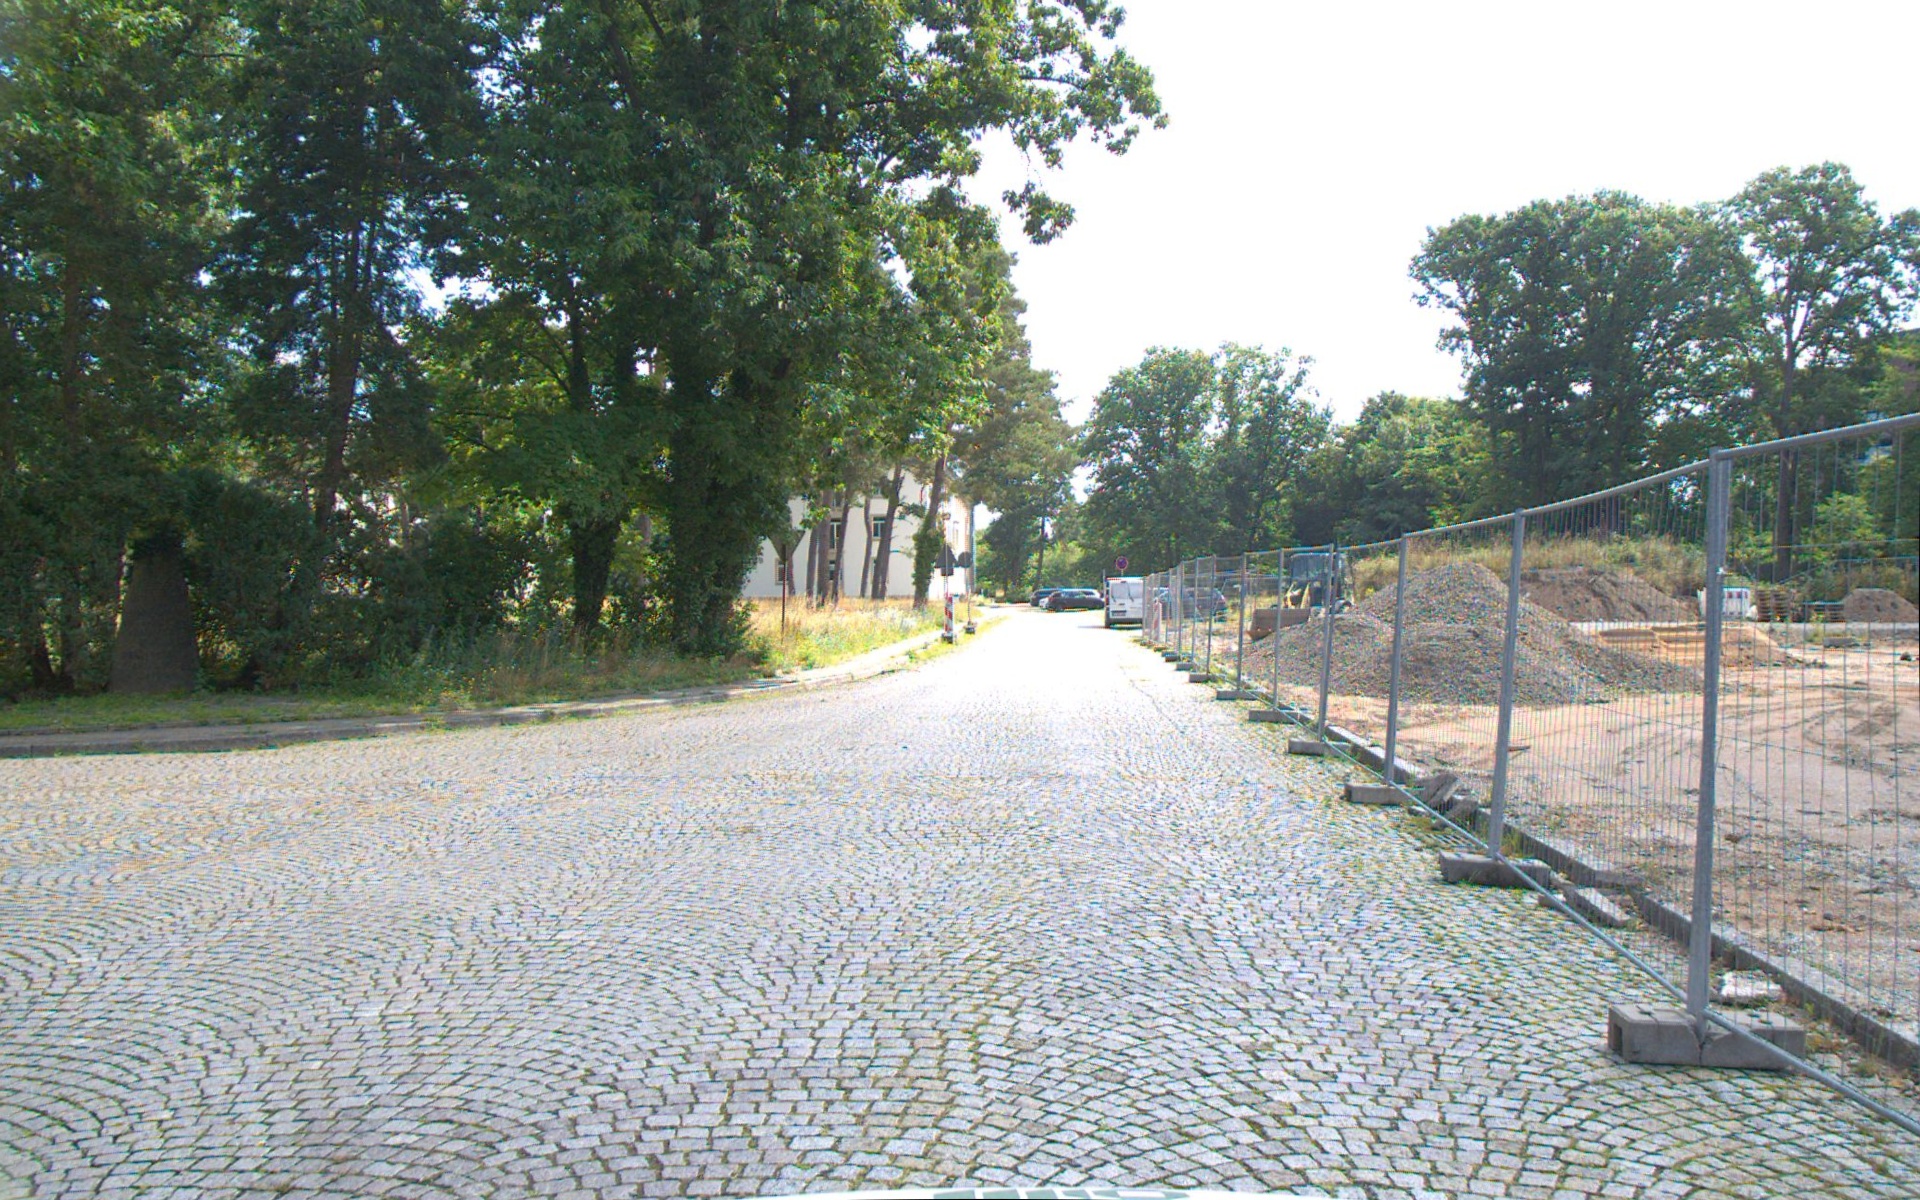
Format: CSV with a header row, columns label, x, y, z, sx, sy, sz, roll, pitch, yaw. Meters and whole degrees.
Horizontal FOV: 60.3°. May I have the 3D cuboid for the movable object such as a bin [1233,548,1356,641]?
label,x,y,z,sx,sy,sz,roll,pitch,yaw
movable object such as a bin,10.089,-0.175,49.562,2.090,2.638,4.779,0,0,32

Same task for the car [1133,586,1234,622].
label,x,y,z,sx,sy,sz,roll,pitch,yaw
car,9.919,0.164,73.403,4.308,1.537,2.002,1,0,11

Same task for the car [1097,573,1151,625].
label,x,y,z,sx,sy,sz,roll,pitch,yaw
car,6.694,-0.054,67.835,1.952,2.049,4.092,0,0,2

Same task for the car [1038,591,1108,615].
label,x,y,z,sx,sy,sz,roll,pitch,yaw
car,7.906,0.204,116.161,4.684,1.669,1.999,0,0,-2

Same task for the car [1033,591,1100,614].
label,x,y,z,sx,sy,sz,roll,pitch,yaw
car,7.656,0.178,119.255,4.684,1.669,1.999,0,0,-2
